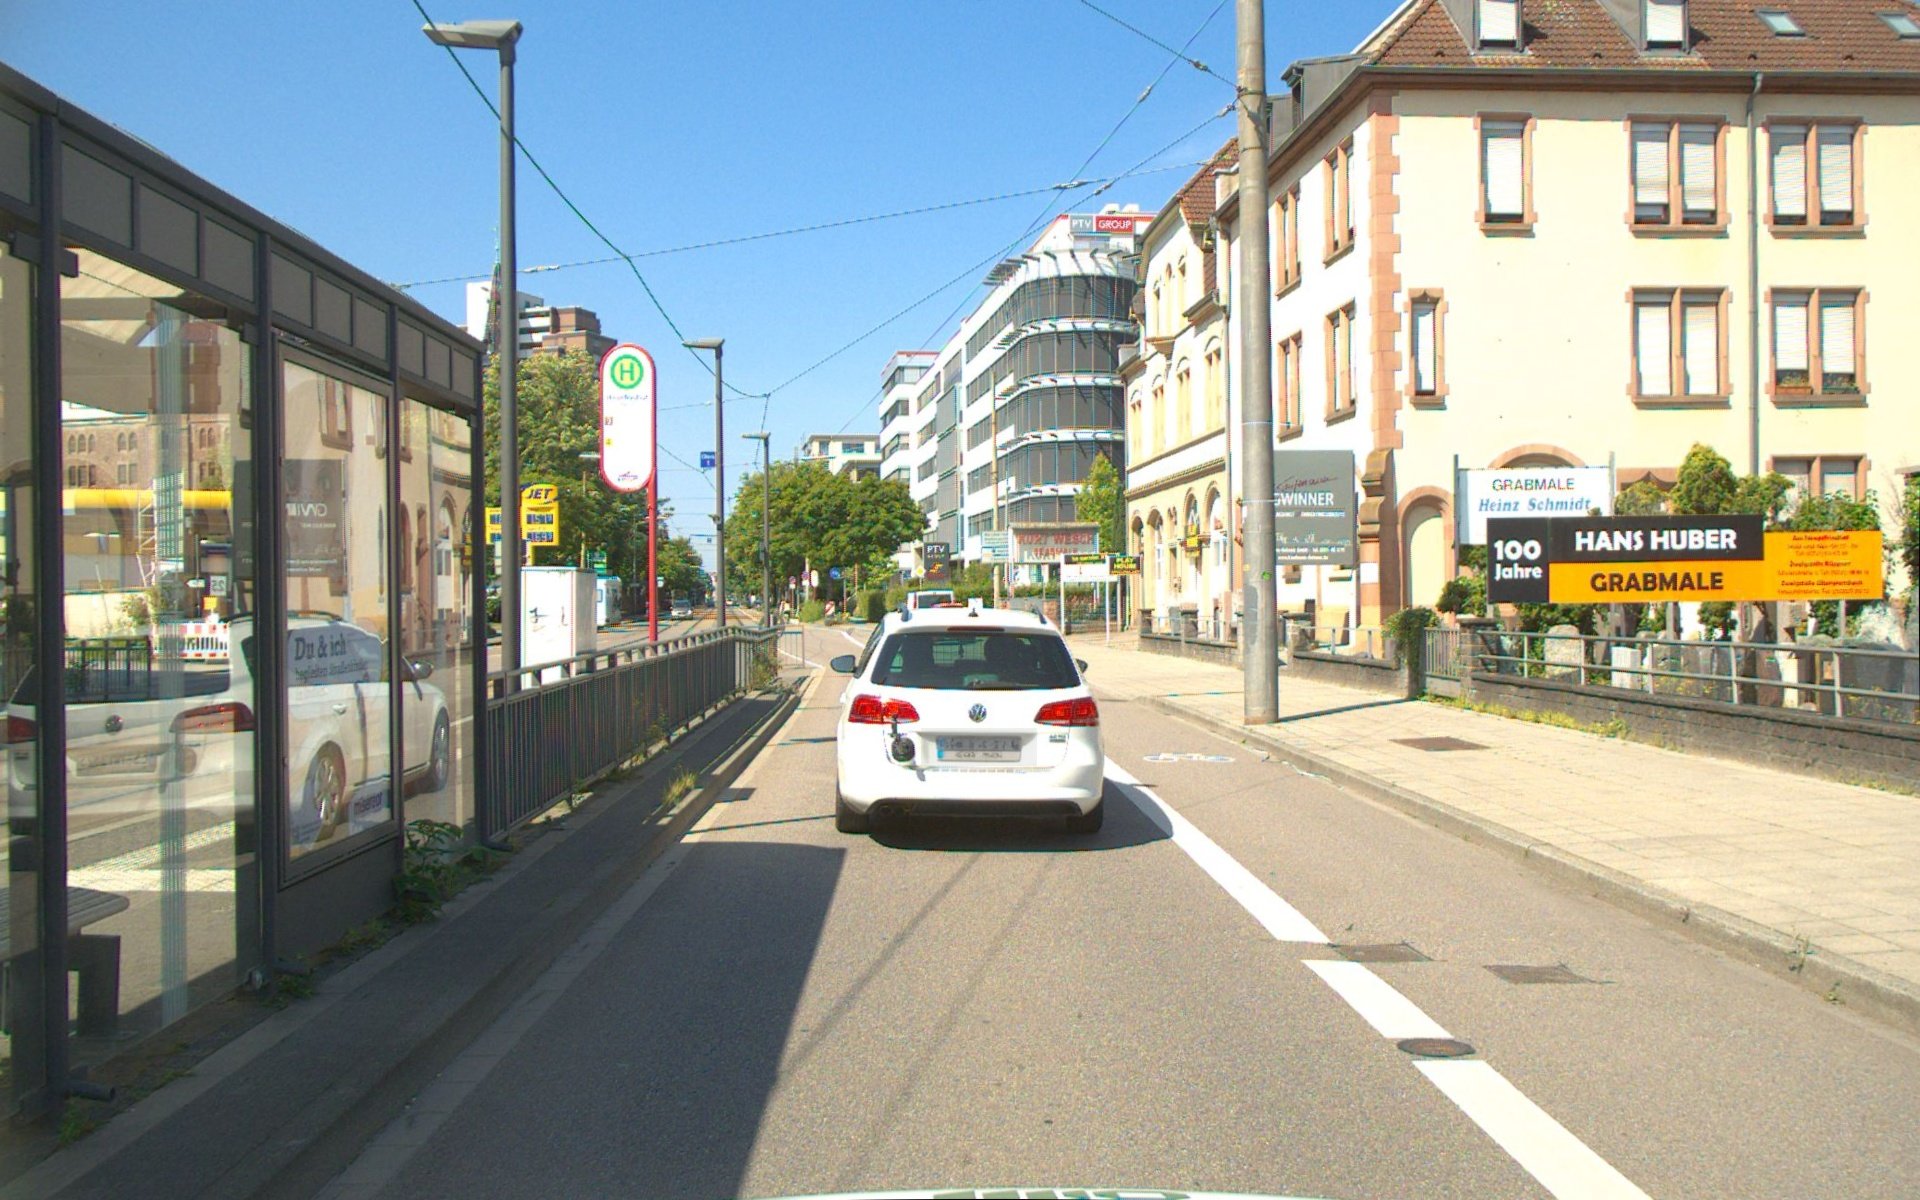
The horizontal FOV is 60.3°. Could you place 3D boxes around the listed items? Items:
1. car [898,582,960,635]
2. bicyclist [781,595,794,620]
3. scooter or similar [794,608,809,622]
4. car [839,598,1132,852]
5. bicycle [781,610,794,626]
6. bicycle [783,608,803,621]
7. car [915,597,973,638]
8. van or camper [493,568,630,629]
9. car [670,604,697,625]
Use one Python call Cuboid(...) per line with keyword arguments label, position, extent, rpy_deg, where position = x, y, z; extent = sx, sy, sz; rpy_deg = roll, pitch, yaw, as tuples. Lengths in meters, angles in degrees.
Cuboid(label="car", position=(-1.345, 0.359, 69.688), extent=(1.939, 2.090, 5.182), rpy_deg=(-3, 0, -8))
Cuboid(label="bicyclist", position=(-11.664, 0.518, 111.697), extent=(0.771, 1.658, 0.737), rpy_deg=(2, -1, -8))
Cuboid(label="scooter or similar", position=(-12.949, 1.215, 135.167), extent=(1.120, 1.174, 0.493), rpy_deg=(0, 0, -3))
Cuboid(label="car", position=(0.000, 0.730, 11.926), extent=(1.719, 1.467, 4.409), rpy_deg=(0, 0, -4))
Cuboid(label="bicycle", position=(-11.634, 1.221, 111.616), extent=(0.795, 1.097, 2.008), rpy_deg=(0, 0, -8))
Cuboid(label="bicycle", position=(-14.955, 1.281, 147.930), extent=(1.742, 1.102, 0.595), rpy_deg=(-1, 0, -11))
Cuboid(label="car", position=(-0.646, 0.663, 63.688), extent=(1.689, 1.468, 4.305), rpy_deg=(-3, 0, -8))
Cuboid(label="van or camper", position=(-21.482, -0.075, 89.290), extent=(6.549, 3.019, 2.618), rpy_deg=(2, -1, 7))
Cuboid(label="car", position=(-22.433, 1.184, 134.335), extent=(1.711, 1.598, 3.889), rpy_deg=(-2, -1, -3))
